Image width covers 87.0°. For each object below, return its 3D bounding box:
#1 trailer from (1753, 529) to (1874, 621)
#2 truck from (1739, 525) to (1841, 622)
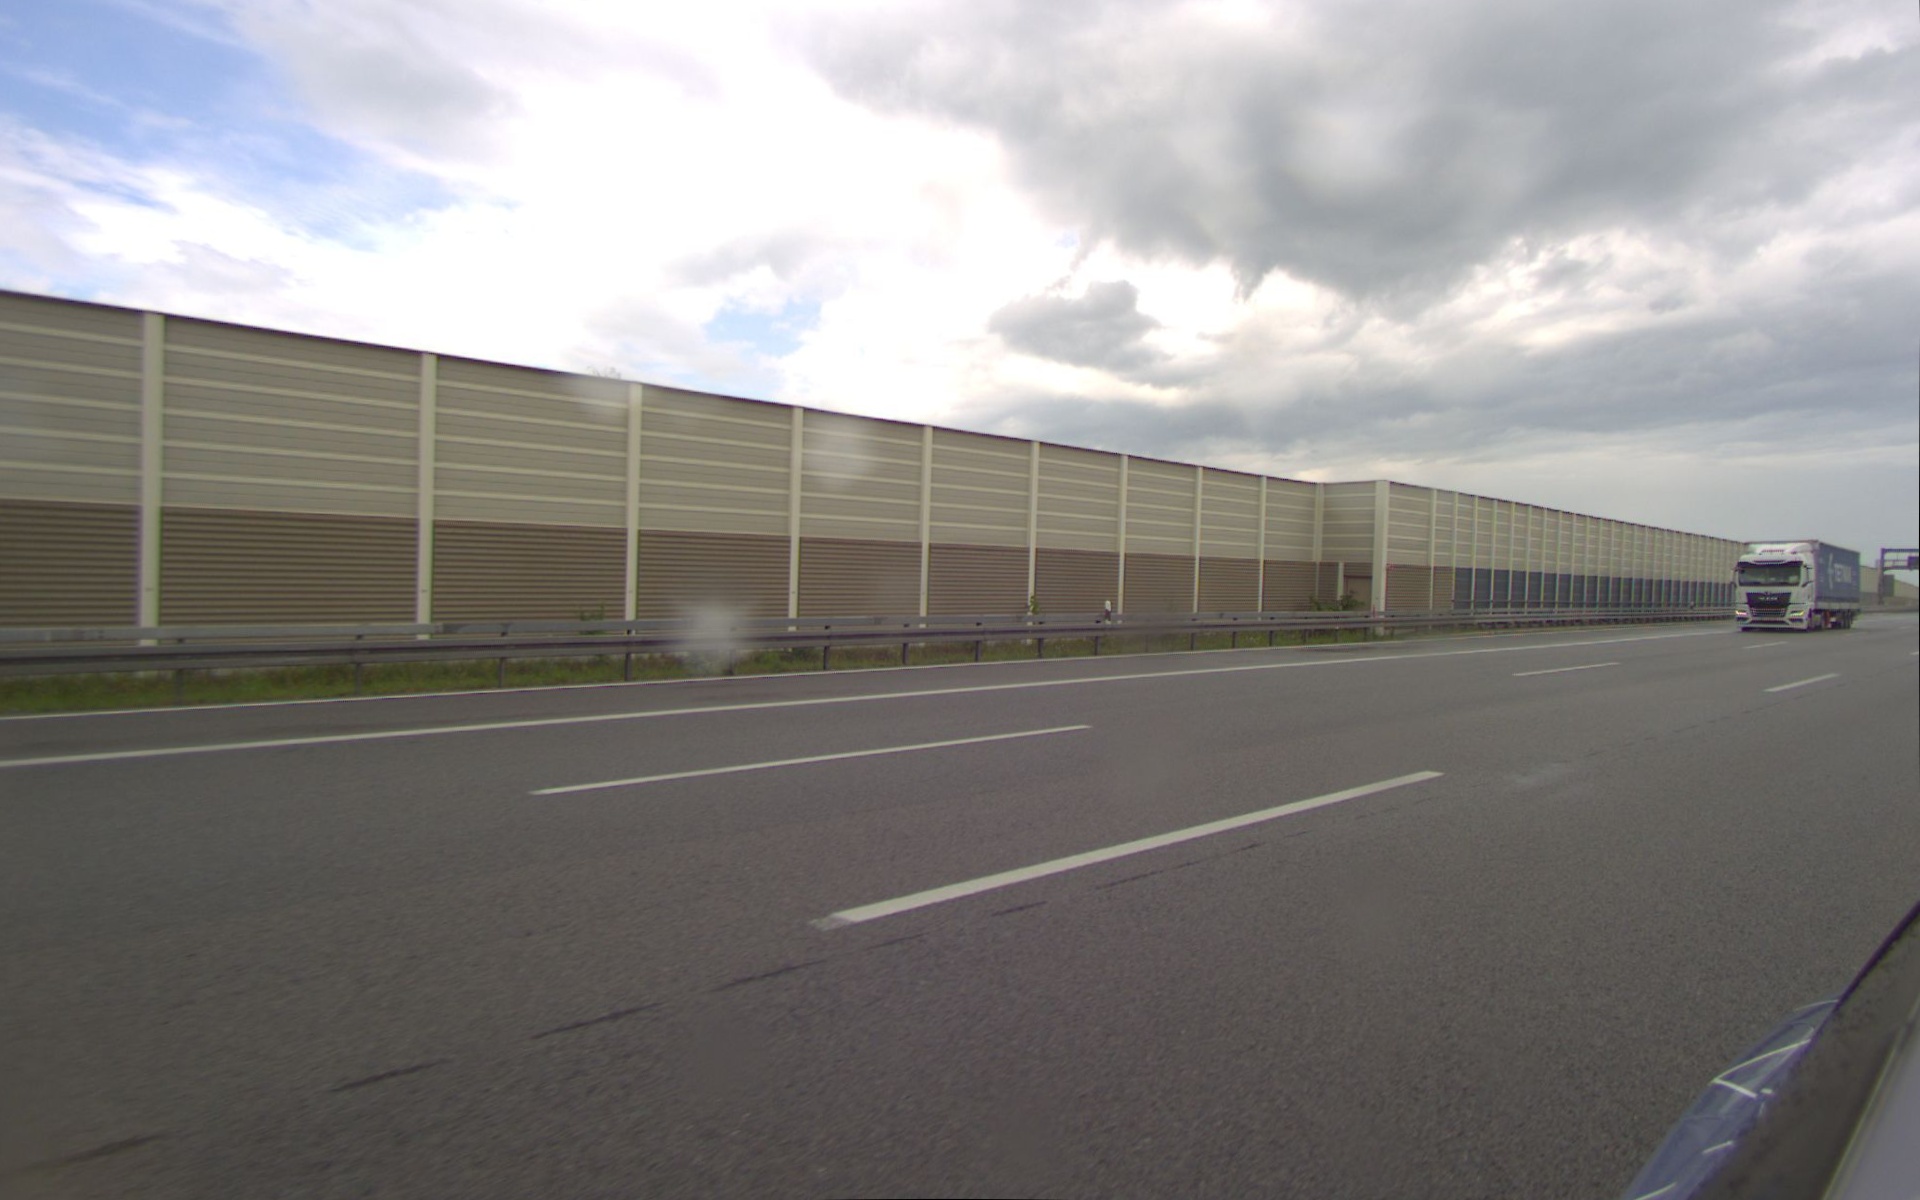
[{"bbox_3d":[42.911,-1.123,50.618,14.204,4.082,2.765,0,0,-42],"label":"trailer"},{"bbox_3d":[37.600,-1.142,45.793,5.627,4.085,2.749,0,0,-42],"label":"truck"}]
